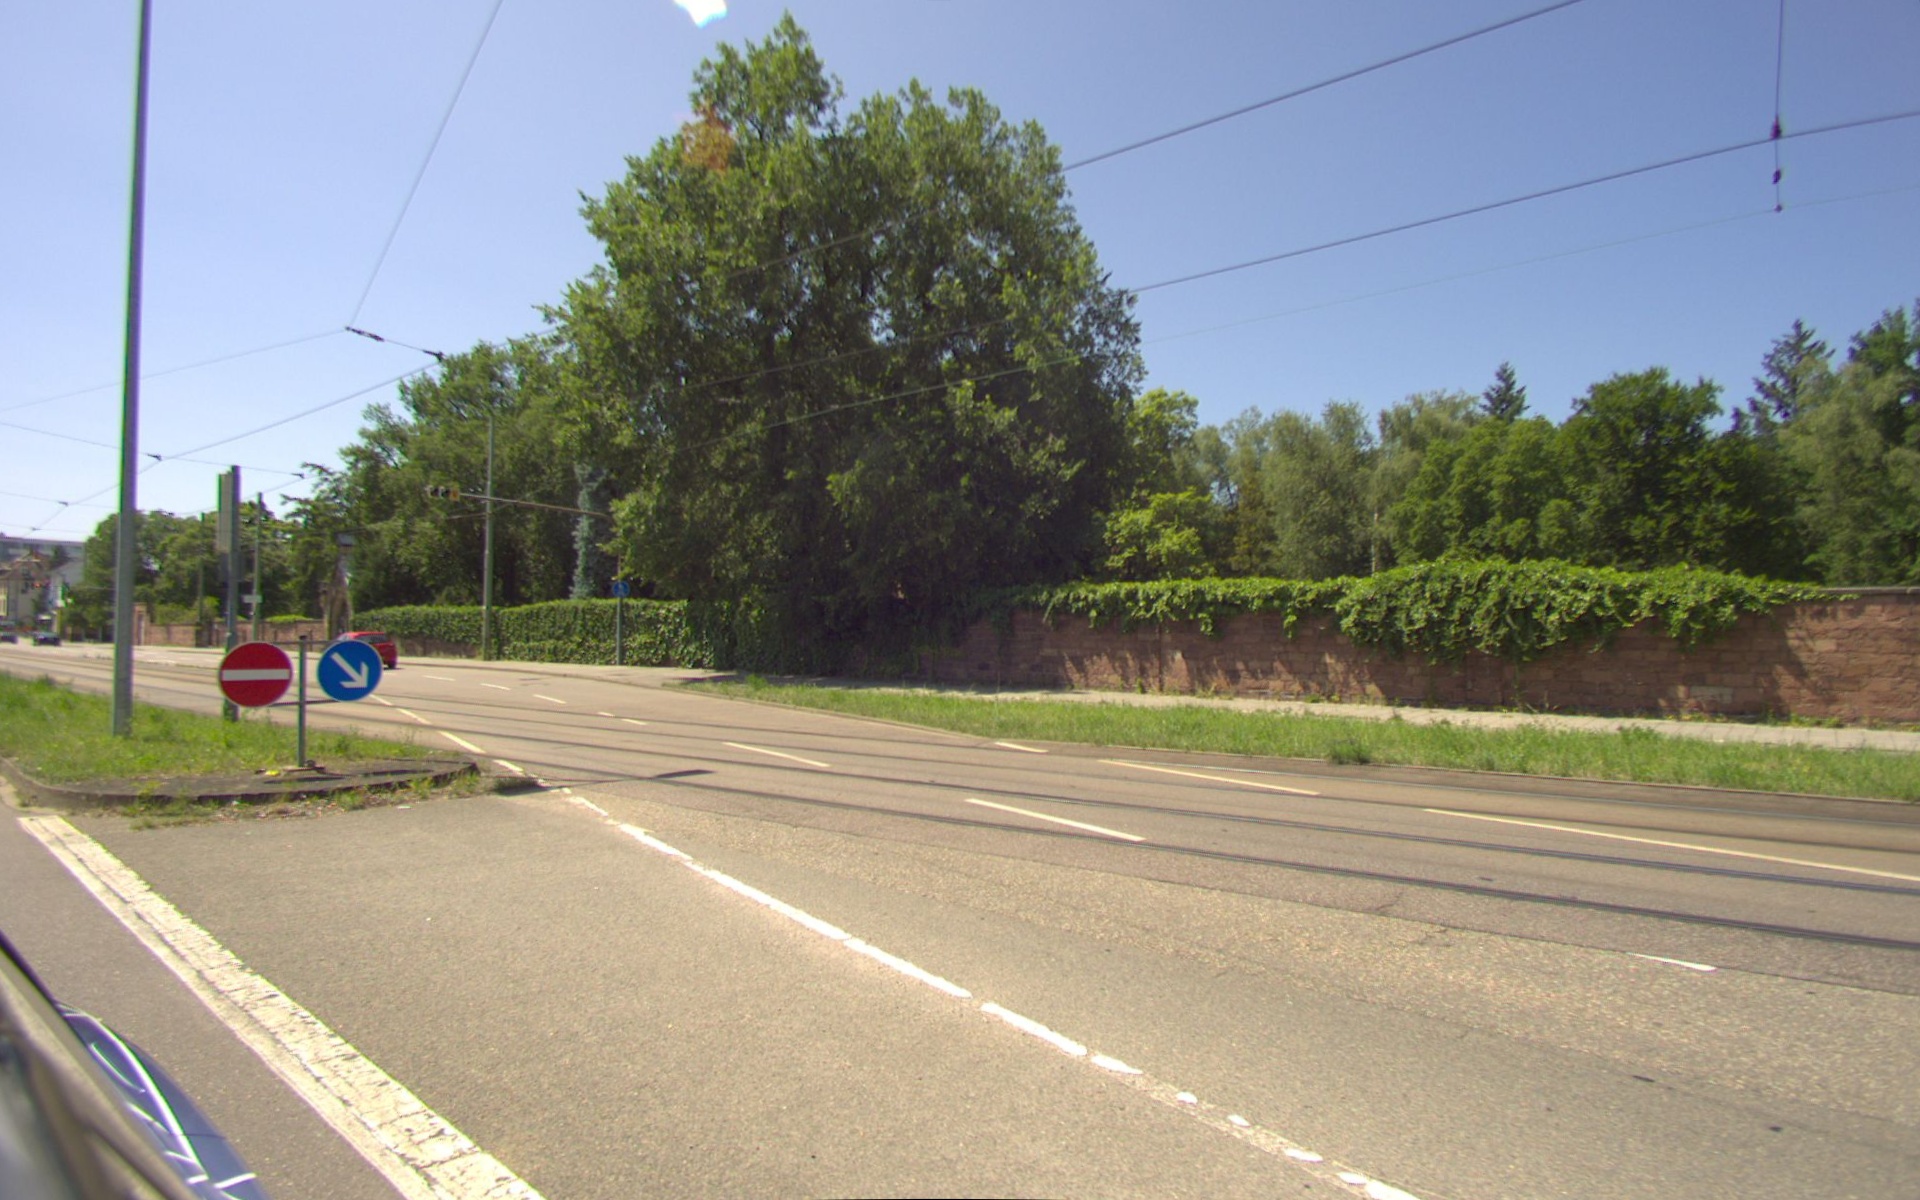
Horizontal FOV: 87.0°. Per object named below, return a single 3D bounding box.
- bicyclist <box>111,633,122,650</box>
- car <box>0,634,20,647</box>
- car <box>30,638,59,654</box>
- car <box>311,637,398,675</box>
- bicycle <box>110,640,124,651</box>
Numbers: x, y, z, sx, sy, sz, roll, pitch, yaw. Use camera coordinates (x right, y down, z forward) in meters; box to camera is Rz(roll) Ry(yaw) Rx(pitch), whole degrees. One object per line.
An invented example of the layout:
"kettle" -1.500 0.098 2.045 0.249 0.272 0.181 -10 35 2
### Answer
"bicyclist" -79.400 3.901 95.284 0.662 1.508 0.646 -2 -2 40
"car" -114.870 4.895 121.996 5.032 1.427 1.821 -2 0 42
"car" -90.079 4.490 99.574 4.123 1.459 1.736 -2 -1 43
"car" -24.096 2.181 40.214 4.278 1.425 1.689 -2 -2 40
"bicycle" -79.374 4.262 95.256 2.113 0.964 0.645 -2 -2 40
